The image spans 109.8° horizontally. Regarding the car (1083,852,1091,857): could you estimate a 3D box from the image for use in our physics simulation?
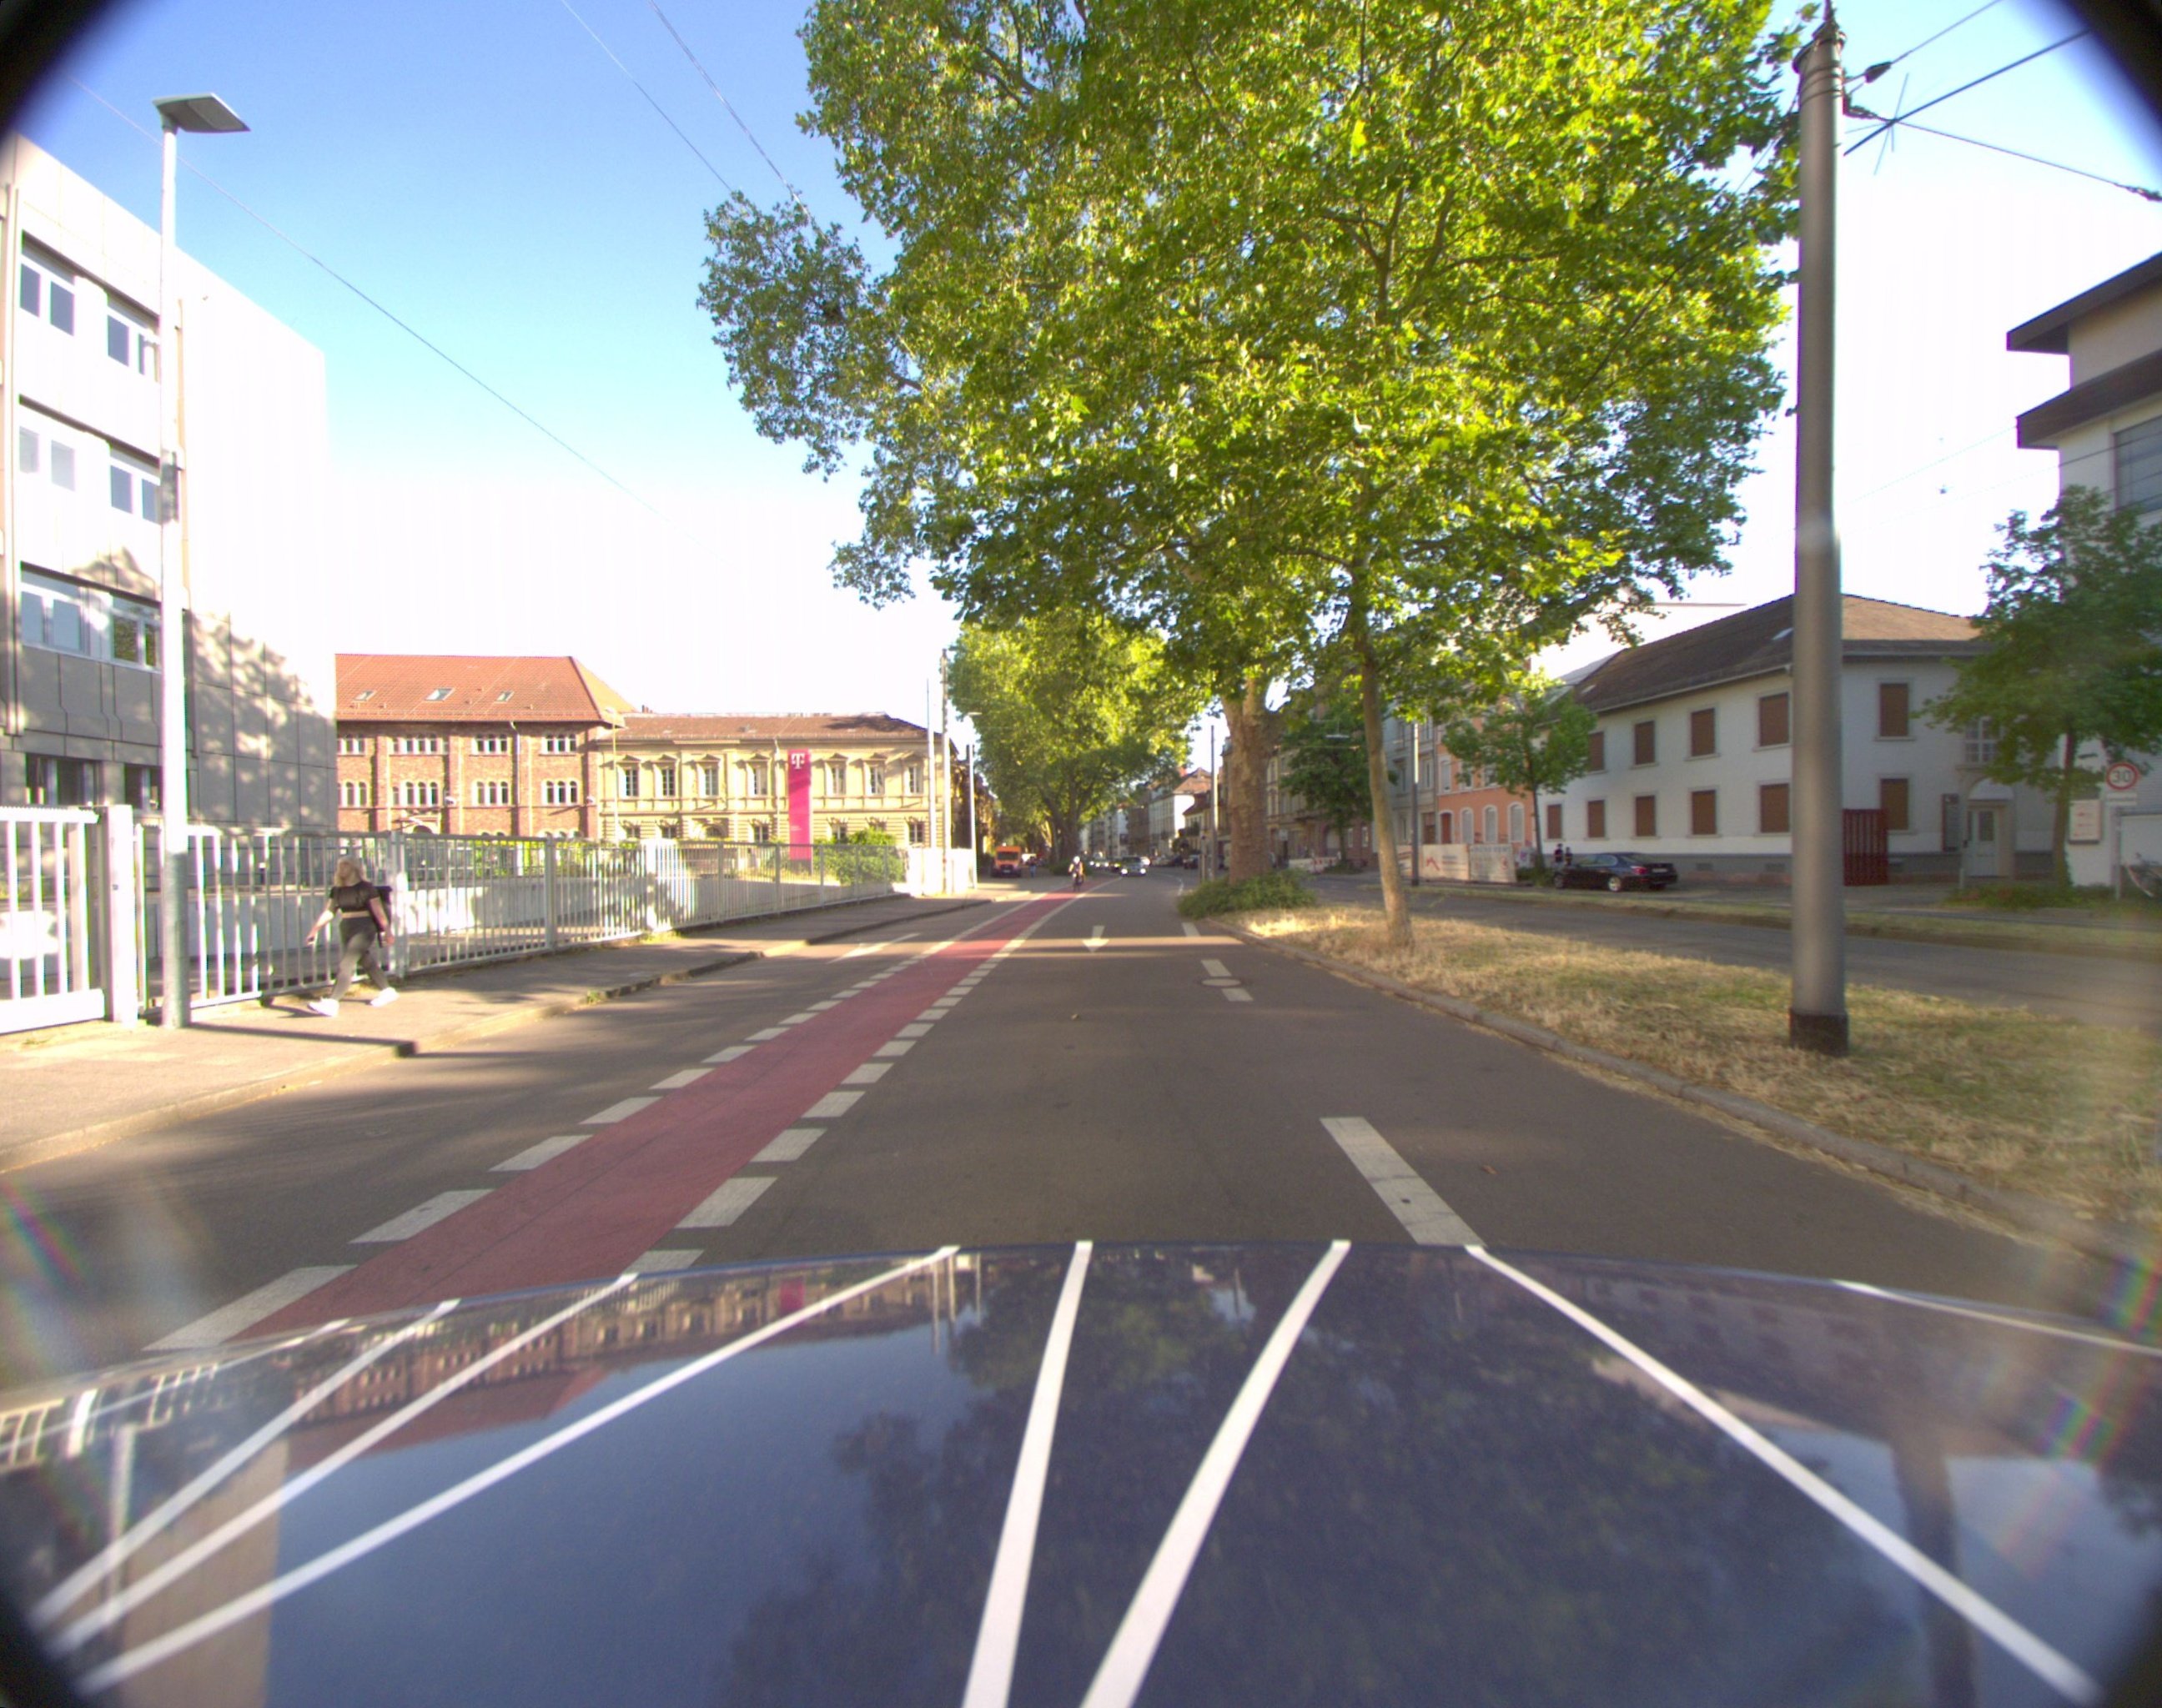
[{"bbox_3d":[1.833,0.146,232.976,1.809,1.534,3.916,-3,0,-7],"label":"car"}]

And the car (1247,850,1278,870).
[{"bbox_3d":[16.647,0.510,69.794,1.635,1.696,3.369,-4,1,-7],"label":"car"}]

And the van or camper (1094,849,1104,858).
[{"bbox_3d":[4.550,-0.061,197.438,1.945,2.267,4.596,-3,0,-5],"label":"van or camper"}]

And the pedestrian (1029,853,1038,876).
[{"bbox_3d":[-3.576,0.769,57.741,0.652,1.726,1.007,-1,1,-4],"label":"pedestrian"}]

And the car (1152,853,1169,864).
[{"bbox_3d":[11.995,0.672,115.072,1.587,1.482,4.468,-3,0,-5],"label":"car"}]

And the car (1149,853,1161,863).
[{"bbox_3d":[11.679,0.568,120.470,1.422,1.502,3.325,-3,0,-2],"label":"car"}]

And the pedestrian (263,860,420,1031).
[{"bbox_3d":[-7.717,0.913,7.982,0.697,1.674,0.930,-1,1,-2],"label":"pedestrian"}]

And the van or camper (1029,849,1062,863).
[{"bbox_3d":[-6.555,0.389,139.789,5.931,2.484,2.219,-1,3,-7],"label":"van or camper"}]

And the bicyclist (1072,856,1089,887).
[{"bbox_3d":[-0.033,0.818,36.067,0.715,1.435,0.953,-1,1,-4],"label":"bicyclist"}]

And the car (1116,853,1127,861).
[{"bbox_3d":[8.326,0.609,156.113,1.799,1.368,4.081,-3,0,-5],"label":"car"}]

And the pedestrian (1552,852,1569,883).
[{"bbox_3d":[22.292,0.619,35.330,0.458,1.409,0.472,-1,1,-10],"label":"pedestrian"}]

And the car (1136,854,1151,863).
[{"bbox_3d":[10.745,0.716,130.680,1.869,1.423,4.081,-3,0,-5],"label":"car"}]

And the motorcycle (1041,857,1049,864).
[{"bbox_3d":[-5.730,1.004,119.482,1.274,1.048,0.394,-1,1,-41],"label":"motorcycle"}]

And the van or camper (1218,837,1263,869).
[{"bbox_3d":[15.898,-0.105,76.140,2.426,2.930,7.248,-4,0,-3],"label":"van or camper"}]

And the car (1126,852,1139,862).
[{"bbox_3d":[9.562,0.568,141.071,1.799,1.630,4.252,-3,0,-5],"label":"car"}]

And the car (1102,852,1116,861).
[{"bbox_3d":[5.117,0.438,138.330,2.000,1.679,4.307,-1,0,-6],"label":"car"}]

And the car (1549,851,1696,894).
[{"bbox_3d":[20.542,0.646,29.131,1.999,1.505,4.722,-1,0,-5],"label":"car"}]

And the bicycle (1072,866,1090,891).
[{"bbox_3d":[-0.025,1.142,36.059,0.715,1.131,2.119,-1,0,-4],"label":"bicycle"}]

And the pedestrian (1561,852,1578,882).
[{"bbox_3d":[23.028,0.603,35.820,0.458,1.409,0.472,-1,1,-10],"label":"pedestrian"}]

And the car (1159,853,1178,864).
[{"bbox_3d":[12.537,0.684,109.253,1.668,1.446,4.402,-4,0,-5],"label":"car"}]

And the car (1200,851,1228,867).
[{"bbox_3d":[14.994,0.561,85.888,1.816,1.695,4.441,-4,0,-6],"label":"car"}]

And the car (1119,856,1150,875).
[{"bbox_3d":[4.208,0.877,60.060,1.740,1.365,3.917,-3,0,-5],"label":"car"}]

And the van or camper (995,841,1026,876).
[{"bbox_3d":[-5.423,0.325,58.914,2.041,2.544,5.771,-1,0,-3],"label":"van or camper"}]

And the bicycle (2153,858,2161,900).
[{"bbox_3d":[26.092,0.602,17.861,0.304,0.996,1.018,-1,0,-6],"label":"bicycle"}]

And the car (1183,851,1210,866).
[{"bbox_3d":[14.082,0.558,93.085,1.999,1.693,4.748,-4,0,-6],"label":"car"}]

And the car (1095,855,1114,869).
[{"bbox_3d":[2.639,0.875,86.507,1.726,1.523,3.592,-1,0,-6],"label":"car"}]

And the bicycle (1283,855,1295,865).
[{"bbox_3d":[20.236,0.568,74.043,0.580,0.919,1.791,-1,0,-2],"label":"bicycle"}]

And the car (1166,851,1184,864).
[{"bbox_3d":[12.961,0.476,105.295,1.729,1.736,3.624,-4,0,-4],"label":"car"}]

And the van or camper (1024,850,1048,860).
[{"bbox_3d":[-11.806,0.230,199.705,6.101,2.417,2.427,-1,0,-4],"label":"van or camper"}]
